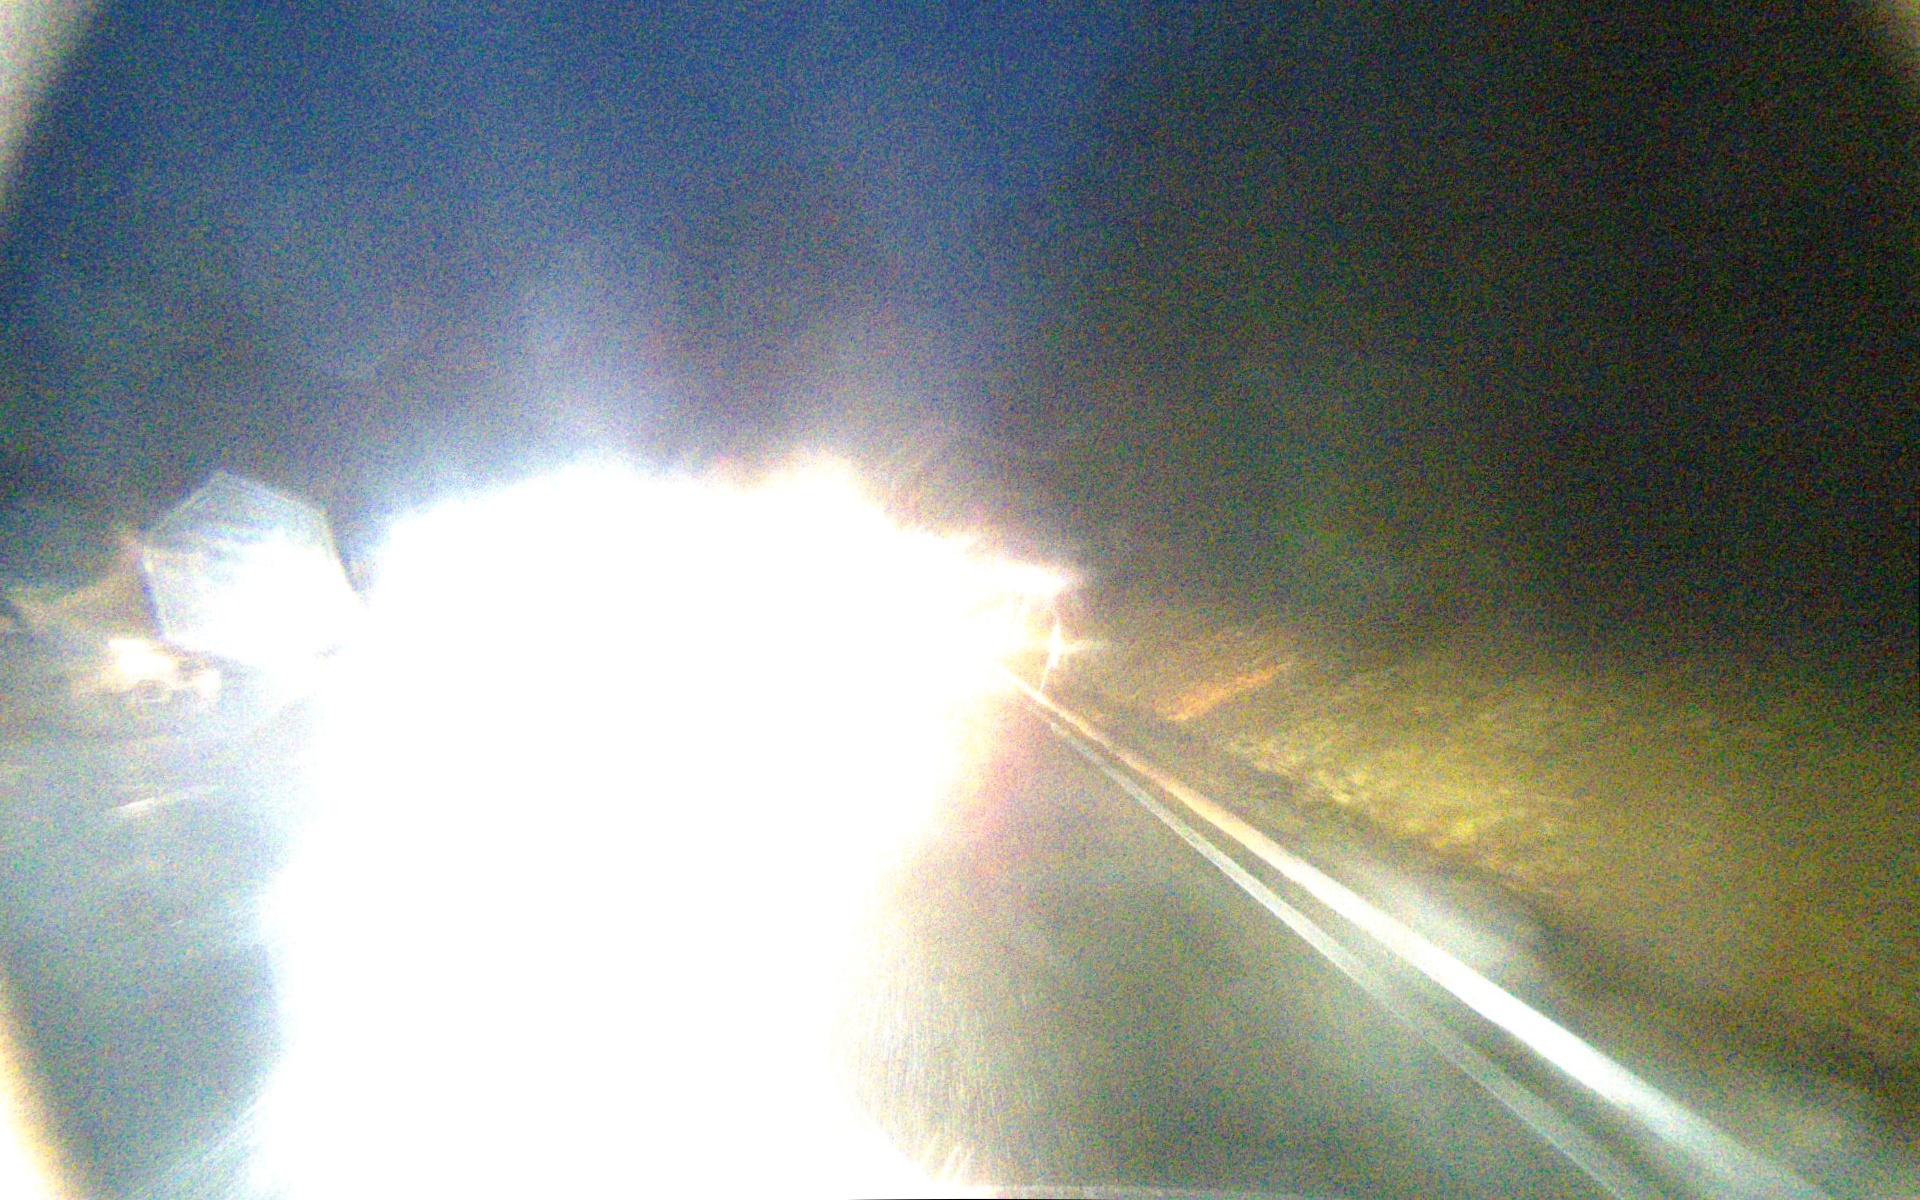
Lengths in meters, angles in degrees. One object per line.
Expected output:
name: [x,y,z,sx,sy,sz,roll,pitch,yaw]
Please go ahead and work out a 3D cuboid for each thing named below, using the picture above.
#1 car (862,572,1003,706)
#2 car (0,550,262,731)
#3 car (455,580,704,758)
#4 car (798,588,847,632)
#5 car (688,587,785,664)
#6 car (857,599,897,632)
car: [-0.412,0.555,25.157,1.953,1.838,3.916,1,0,-1]
car: [-10.530,0.439,18.203,4.833,1.870,1.933,-1,0,-1]
car: [-3.799,0.642,17.208,1.766,1.599,4.188,1,0,-3]
car: [-5.177,0.342,62.552,1.629,1.587,3.559,1,0,-2]
car: [-4.521,0.501,33.828,1.566,1.449,3.551,1,0,-2]
car: [-4.049,0.750,80.821,1.720,1.430,4.486,3,1,-1]
